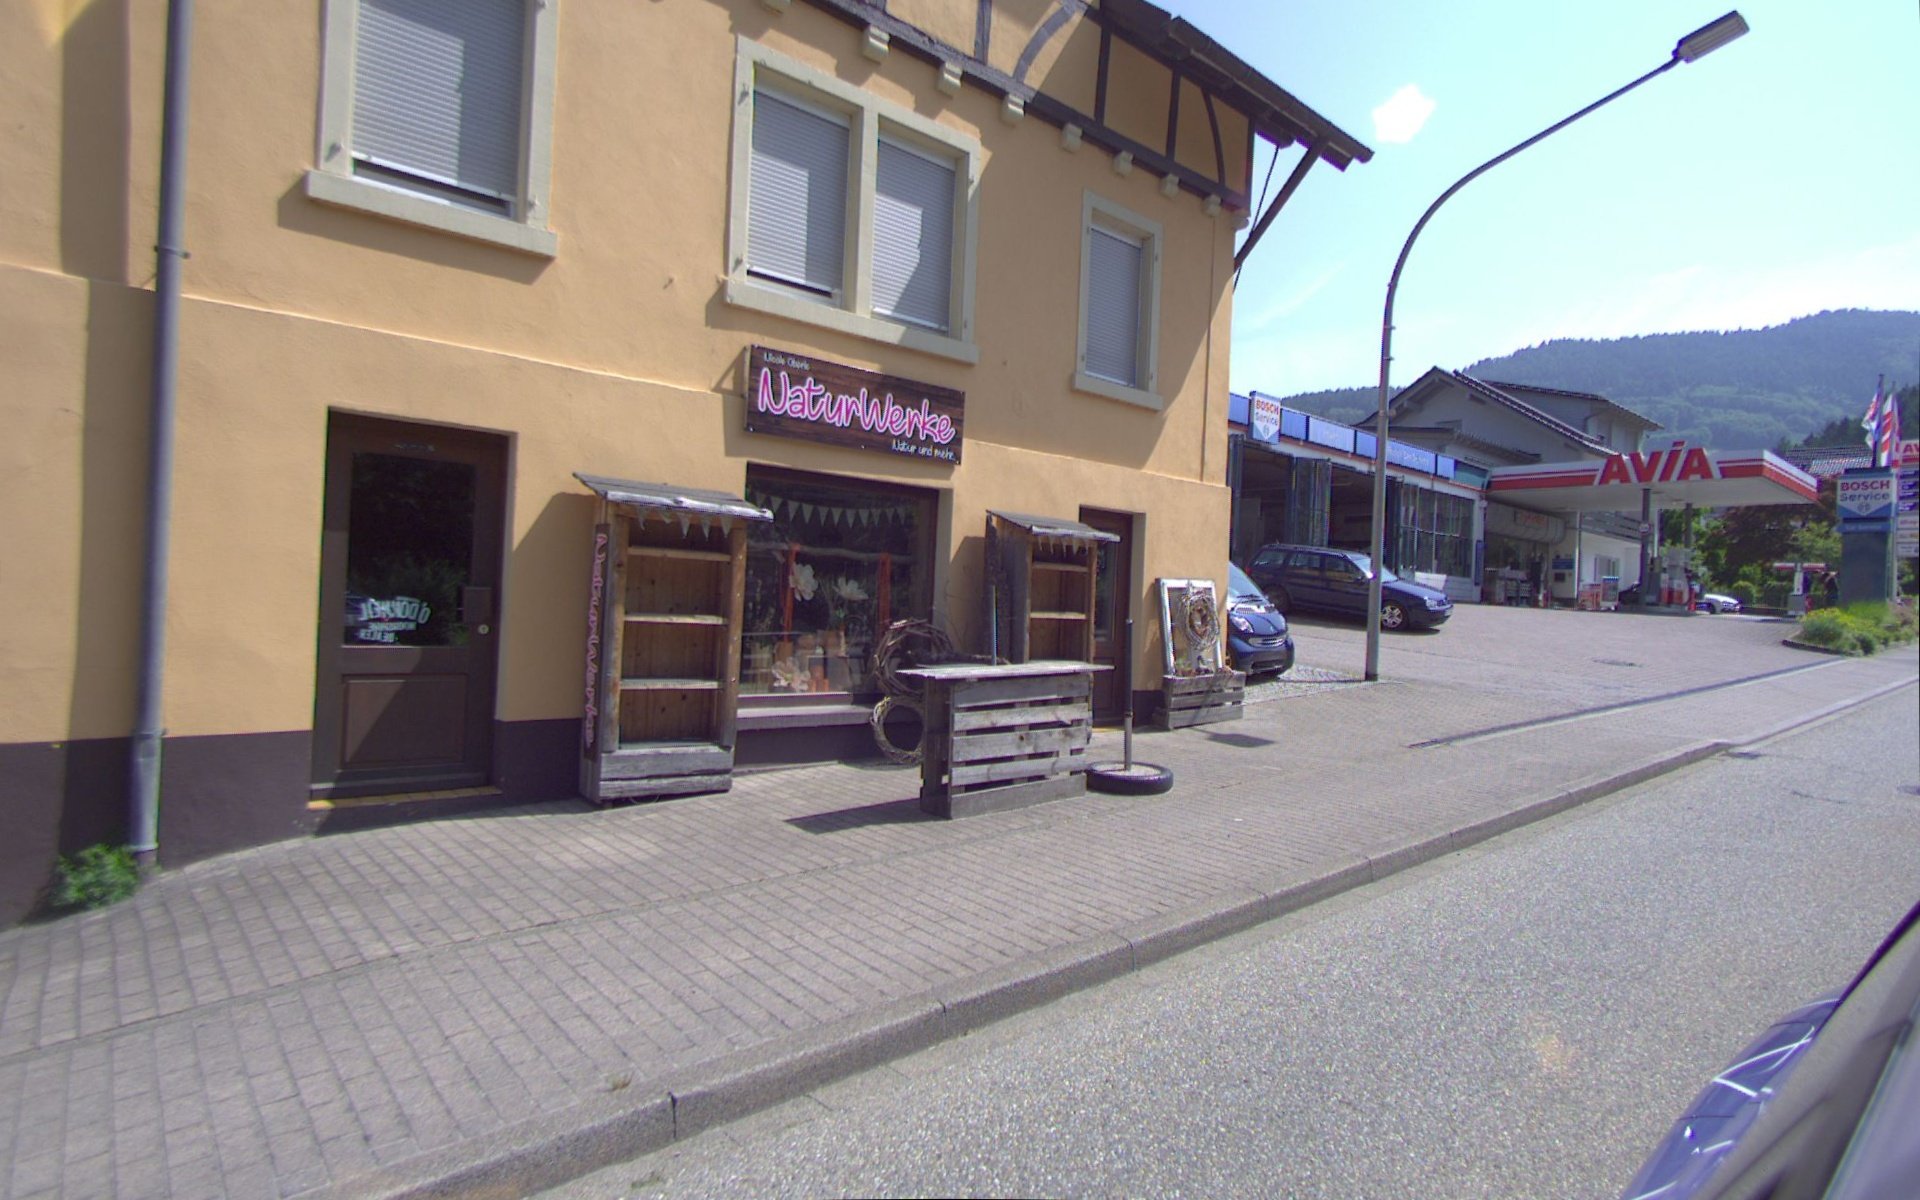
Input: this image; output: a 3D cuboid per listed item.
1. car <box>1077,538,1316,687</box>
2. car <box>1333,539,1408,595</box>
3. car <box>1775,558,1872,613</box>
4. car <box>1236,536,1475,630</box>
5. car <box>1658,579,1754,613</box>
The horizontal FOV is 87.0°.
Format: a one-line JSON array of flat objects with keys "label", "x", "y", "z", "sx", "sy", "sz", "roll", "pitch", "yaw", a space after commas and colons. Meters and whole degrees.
[{"label": "car", "x": 3.074, "y": 0.070, "z": 13.418, "sx": 1.402, "sy": 1.553, "sz": 2.659, "roll": -2, "pitch": 8, "yaw": -43}, {"label": "car", "x": 14.068, "y": -1.185, "z": 34.576, "sx": 1.595, "sy": 1.707, "sz": 3.886, "roll": 6, "pitch": 6, "yaw": 32}, {"label": "car", "x": 28.739, "y": -0.511, "z": 33.653, "sx": 3.841, "sy": 1.595, "sz": 1.697, "roll": -1, "pitch": 6, "yaw": -39}, {"label": "car", "x": 8.313, "y": -0.446, "z": 21.498, "sx": 4.318, "sy": 1.563, "sz": 1.773, "roll": 7, "pitch": 6, "yaw": 41}, {"label": "car", "x": 32.505, "y": -0.213, "z": 44.138, "sx": 1.312, "sy": 1.158, "sz": 3.081, "roll": -1, "pitch": 6, "yaw": -40}]
